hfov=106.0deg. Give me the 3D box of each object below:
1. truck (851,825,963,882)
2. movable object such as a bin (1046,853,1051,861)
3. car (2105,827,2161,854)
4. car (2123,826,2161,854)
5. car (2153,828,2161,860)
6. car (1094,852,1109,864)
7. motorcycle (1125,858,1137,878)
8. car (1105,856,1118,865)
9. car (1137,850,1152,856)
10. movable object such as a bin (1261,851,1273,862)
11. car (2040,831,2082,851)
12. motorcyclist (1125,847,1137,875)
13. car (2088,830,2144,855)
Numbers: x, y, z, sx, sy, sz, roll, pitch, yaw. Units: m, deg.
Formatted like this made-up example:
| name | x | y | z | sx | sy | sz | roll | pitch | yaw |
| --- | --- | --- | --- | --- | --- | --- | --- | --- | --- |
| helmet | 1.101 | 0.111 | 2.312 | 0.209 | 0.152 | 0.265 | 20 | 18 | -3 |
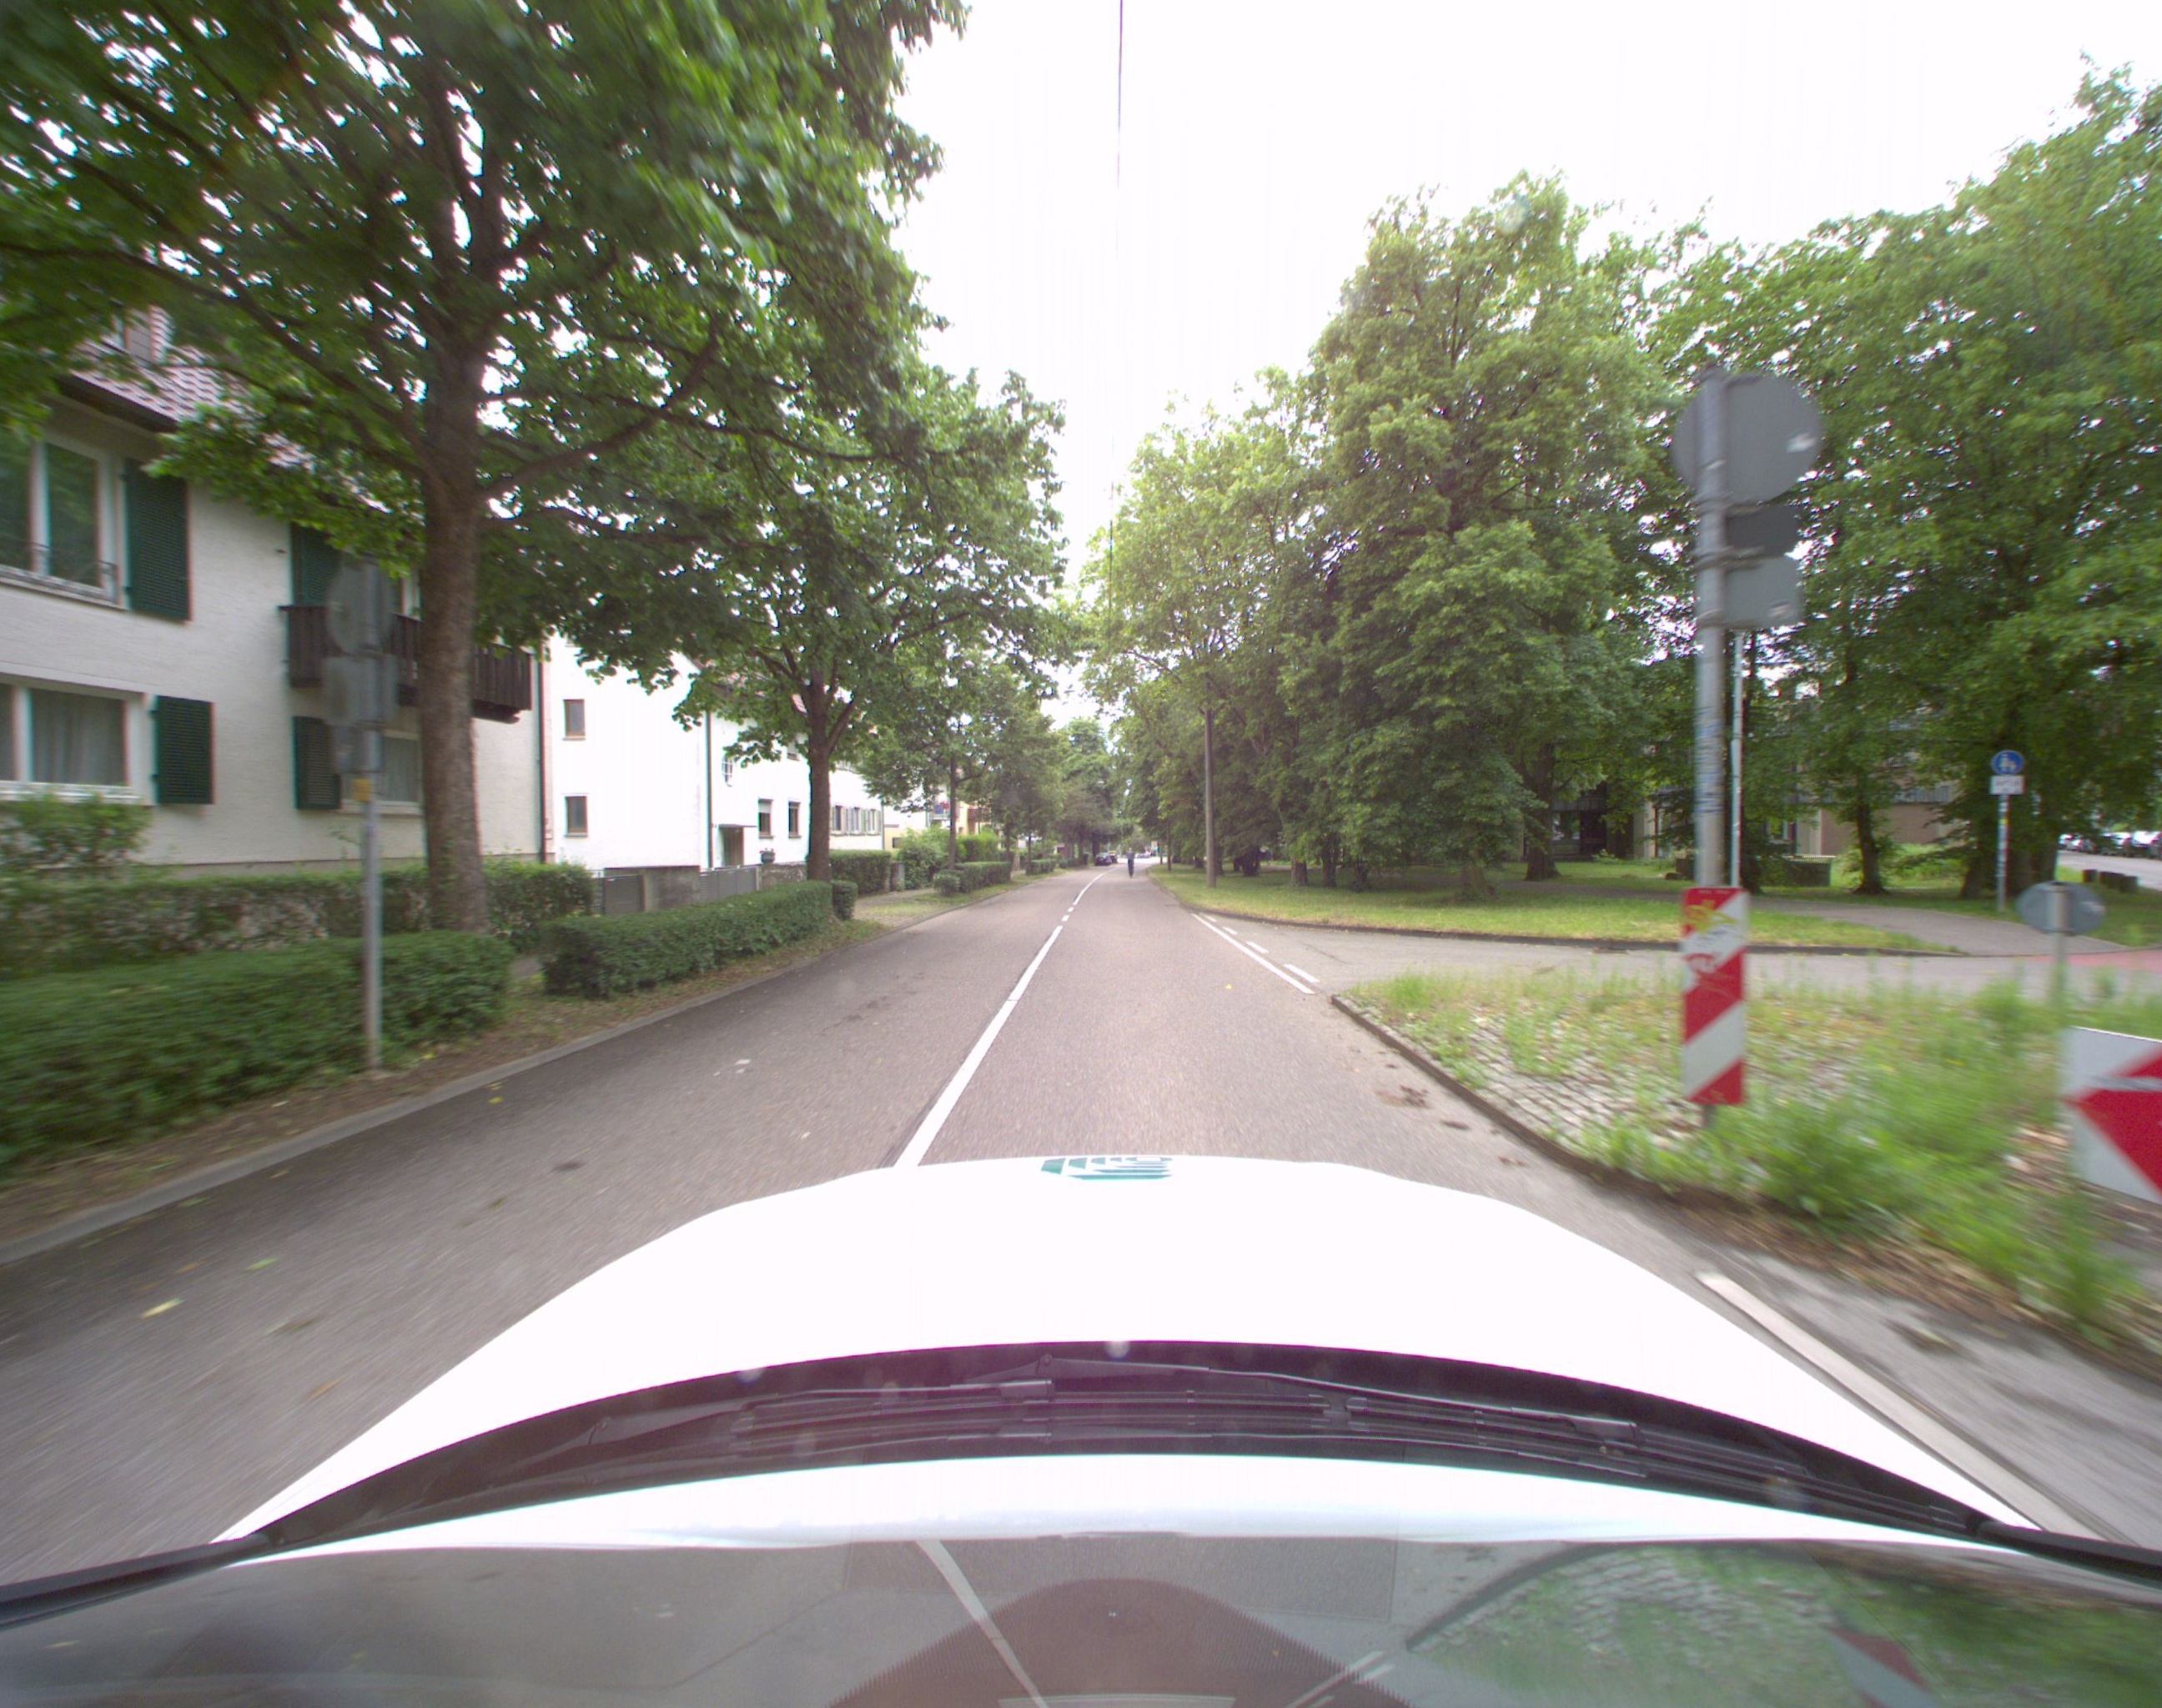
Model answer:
| name | x | y | z | sx | sy | sz | roll | pitch | yaw |
| --- | --- | --- | --- | --- | --- | --- | --- | --- | --- |
| truck | -9.845 | -0.012 | 46.491 | 5.774 | 3.131 | 2.519 | 0 | 0 | 1 |
| movable object such as a bin | -3.790 | 0.338 | 95.270 | 0.454 | 0.915 | 0.508 | -2 | -1 | -1 |
| car | 62.248 | -0.779 | 48.073 | 4.023 | 1.510 | 1.778 | -1 | 1 | -45 |
| car | 58.528 | -0.780 | 44.320 | 4.023 | 1.510 | 1.778 | -1 | 1 | -45 |
| car | 51.411 | -0.473 | 37.600 | 4.023 | 1.510 | 1.778 | -1 | 1 | -45 |
| car | 2.620 | 0.506 | 103.704 | 1.787 | 1.472 | 4.421 | -1 | 0 | 3 |
| motorcycle | 3.155 | 0.877 | 51.662 | 0.669 | 1.217 | 1.276 | 0 | 0 | 6 |
| car | 5.017 | 1.080 | 134.734 | 1.882 | 1.410 | 4.561 | -2 | -1 | 6 |
| car | 16.826 | -0.253 | 215.189 | 3.971 | 1.510 | 1.801 | -2 | 0 | 2 |
| movable object such as a bin | 25.263 | 0.312 | 110.403 | 1.321 | 1.501 | 1.315 | -2 | 0 | 2 |
| car | 78.132 | -1.027 | 64.973 | 4.023 | 1.510 | 1.778 | -1 | 1 | -45 |
| motorcyclist | 3.182 | 0.453 | 51.906 | 0.669 | 1.761 | 0.640 | 0 | 0 | 6 |
| car | 66.311 | -0.754 | 52.228 | 4.023 | 1.510 | 1.778 | -1 | 1 | -45 |
